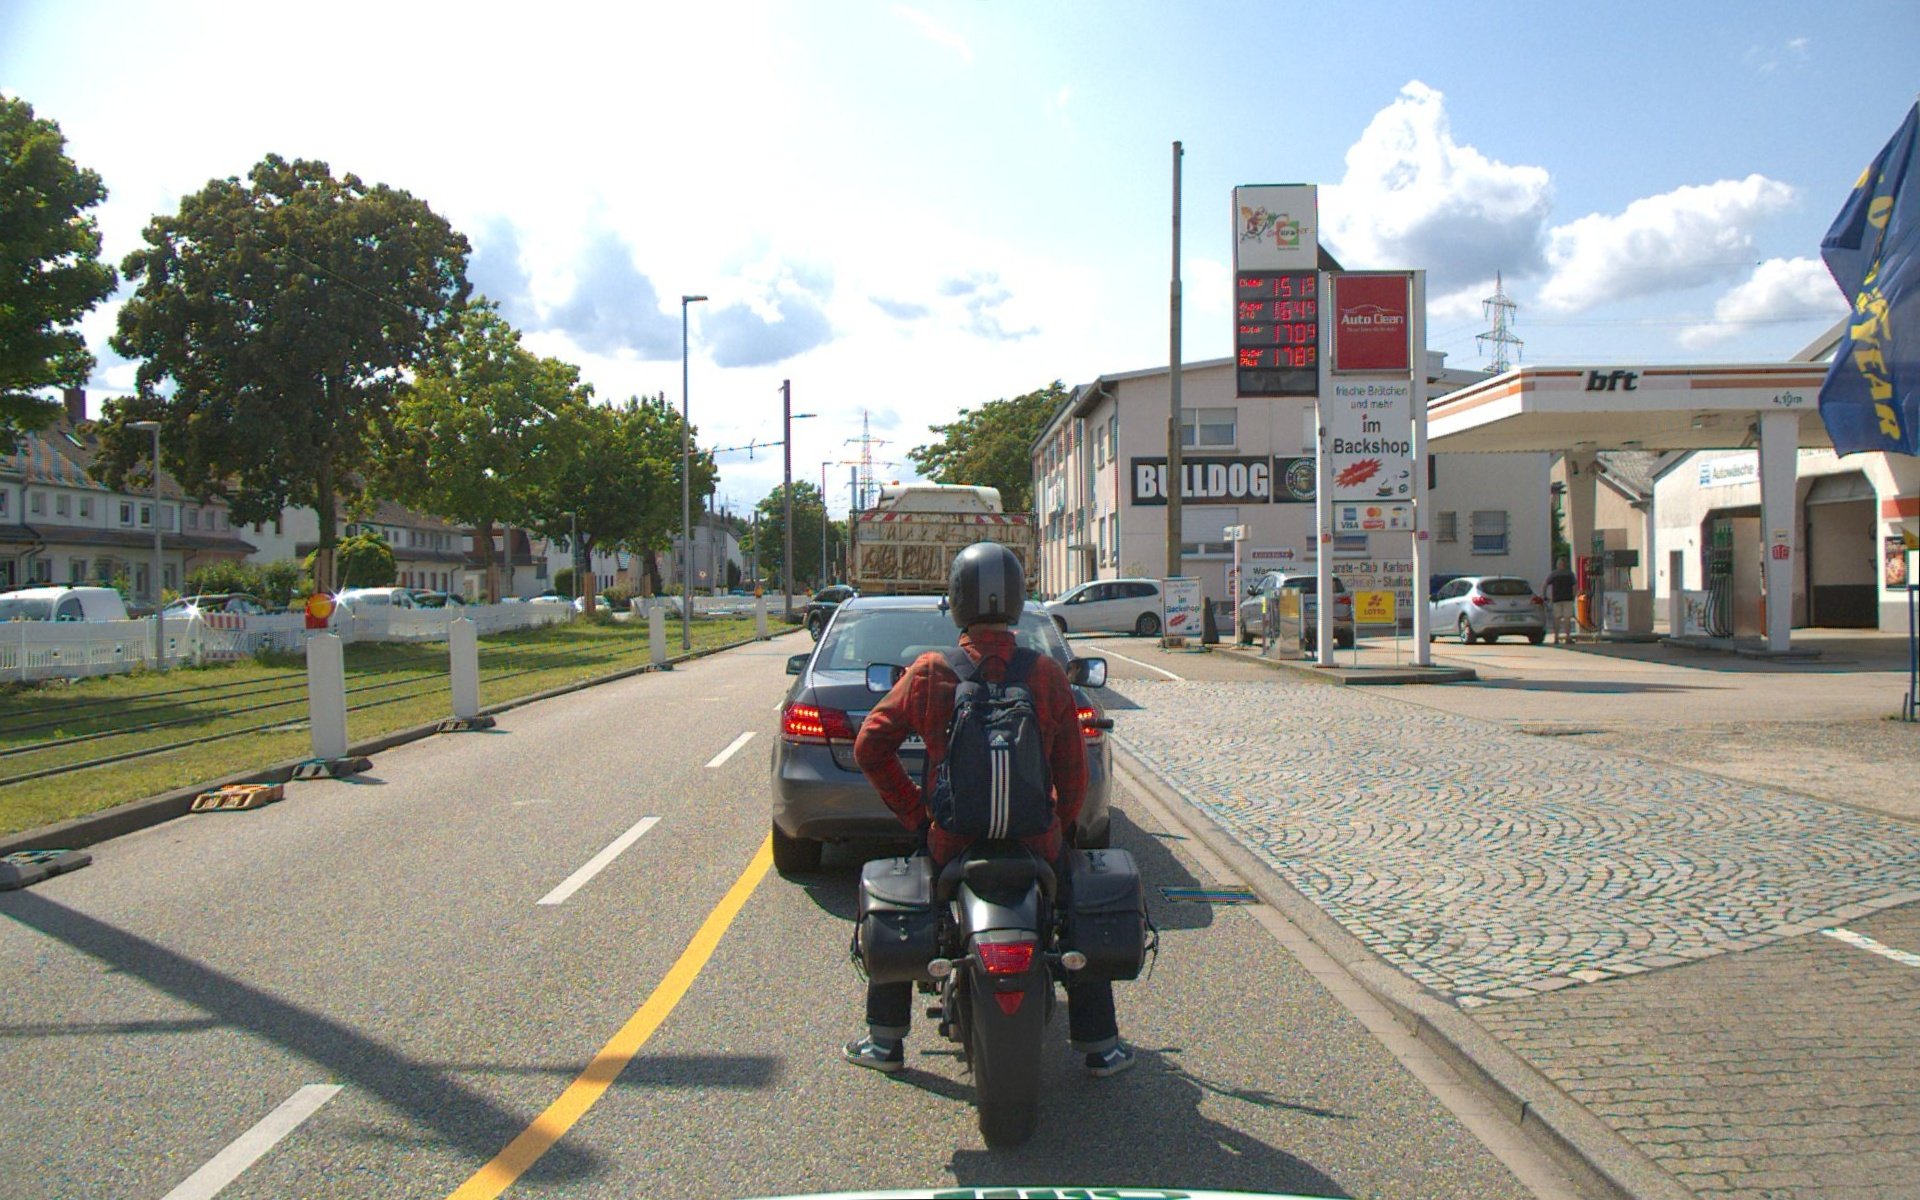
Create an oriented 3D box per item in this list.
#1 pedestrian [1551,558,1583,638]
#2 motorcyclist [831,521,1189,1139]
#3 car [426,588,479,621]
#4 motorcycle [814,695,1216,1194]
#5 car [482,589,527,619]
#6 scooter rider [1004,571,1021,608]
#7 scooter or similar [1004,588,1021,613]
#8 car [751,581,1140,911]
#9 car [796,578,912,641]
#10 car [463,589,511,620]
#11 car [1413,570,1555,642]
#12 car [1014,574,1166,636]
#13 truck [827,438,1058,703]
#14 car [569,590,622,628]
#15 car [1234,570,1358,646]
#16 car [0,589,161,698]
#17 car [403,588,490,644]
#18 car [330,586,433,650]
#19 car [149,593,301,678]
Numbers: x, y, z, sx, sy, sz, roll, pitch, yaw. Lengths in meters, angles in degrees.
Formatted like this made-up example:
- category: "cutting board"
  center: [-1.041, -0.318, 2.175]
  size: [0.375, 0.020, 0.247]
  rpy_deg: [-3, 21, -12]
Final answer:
- category: "pedestrian"
  center: [13.135, -0.045, 35.796]
  size: [0.621, 1.712, 0.622]
  rpy_deg: [-1, 0, 20]
- category: "motorcyclist"
  center: [0.128, 0.620, 5.081]
  size: [0.950, 1.662, 1.214]
  rpy_deg: [1, 0, -1]
- category: "car"
  center: [-28.179, 0.247, 91.942]
  size: [1.664, 1.770, 4.061]
  rpy_deg: [-1, 0, -1]
- category: "motorcycle"
  center: [0.117, 0.902, 5.199]
  size: [0.956, 1.031, 2.431]
  rpy_deg: [1, 0, -1]
- category: "car"
  center: [-28.661, 0.232, 104.154]
  size: [1.664, 1.770, 4.061]
  rpy_deg: [-1, 0, -1]
- category: "scooter rider"
  center: [2.571, -0.520, 81.658]
  size: [0.779, 1.850, 0.508]
  rpy_deg: [-1, 0, -1]
- category: "scooter or similar"
  center: [2.584, 0.021, 81.618]
  size: [0.779, 1.165, 1.519]
  rpy_deg: [-1, 0, -1]
- category: "car"
  center: [-0.125, 0.665, 9.766]
  size: [1.795, 1.505, 4.008]
  rpy_deg: [-1, 0, -2]
- category: "car"
  center: [-2.982, 0.254, 45.855]
  size: [1.662, 1.652, 4.079]
  rpy_deg: [-1, 0, -29]
- category: "car"
  center: [-28.059, 0.262, 98.152]
  size: [1.664, 1.770, 4.061]
  rpy_deg: [-1, 0, -1]
- category: "car"
  center: [11.773, 0.104, 37.424]
  size: [1.795, 1.505, 4.008]
  rpy_deg: [-1, 0, -2]
- category: "car"
  center: [3.671, 0.120, 47.089]
  size: [4.029, 1.652, 1.682]
  rpy_deg: [-1, 0, -9]
- category: "truck"
  center: [-0.356, -0.420, 25.474]
  size: [2.910, 3.362, 8.404]
  rpy_deg: [-1, 0, -2]
- category: "car"
  center: [-17.414, 0.411, 79.133]
  size: [1.664, 1.770, 3.860]
  rpy_deg: [-1, 0, -1]
- category: "car"
  center: [7.402, 0.145, 36.759]
  size: [1.795, 1.562, 4.008]
  rpy_deg: [-1, 0, -2]
- category: "car"
  center: [-16.418, 0.746, 30.300]
  size: [1.664, 1.849, 3.860]
  rpy_deg: [-1, 0, -1]
- category: "car"
  center: [-17.018, 0.499, 54.987]
  size: [1.664, 1.770, 3.860]
  rpy_deg: [-1, 0, -1]
- category: "car"
  center: [-16.911, 0.496, 48.547]
  size: [1.664, 1.770, 3.860]
  rpy_deg: [-1, 0, -1]
- category: "car"
  center: [-16.672, 0.760, 37.723]
  size: [1.664, 1.770, 4.053]
  rpy_deg: [-1, 0, -1]
